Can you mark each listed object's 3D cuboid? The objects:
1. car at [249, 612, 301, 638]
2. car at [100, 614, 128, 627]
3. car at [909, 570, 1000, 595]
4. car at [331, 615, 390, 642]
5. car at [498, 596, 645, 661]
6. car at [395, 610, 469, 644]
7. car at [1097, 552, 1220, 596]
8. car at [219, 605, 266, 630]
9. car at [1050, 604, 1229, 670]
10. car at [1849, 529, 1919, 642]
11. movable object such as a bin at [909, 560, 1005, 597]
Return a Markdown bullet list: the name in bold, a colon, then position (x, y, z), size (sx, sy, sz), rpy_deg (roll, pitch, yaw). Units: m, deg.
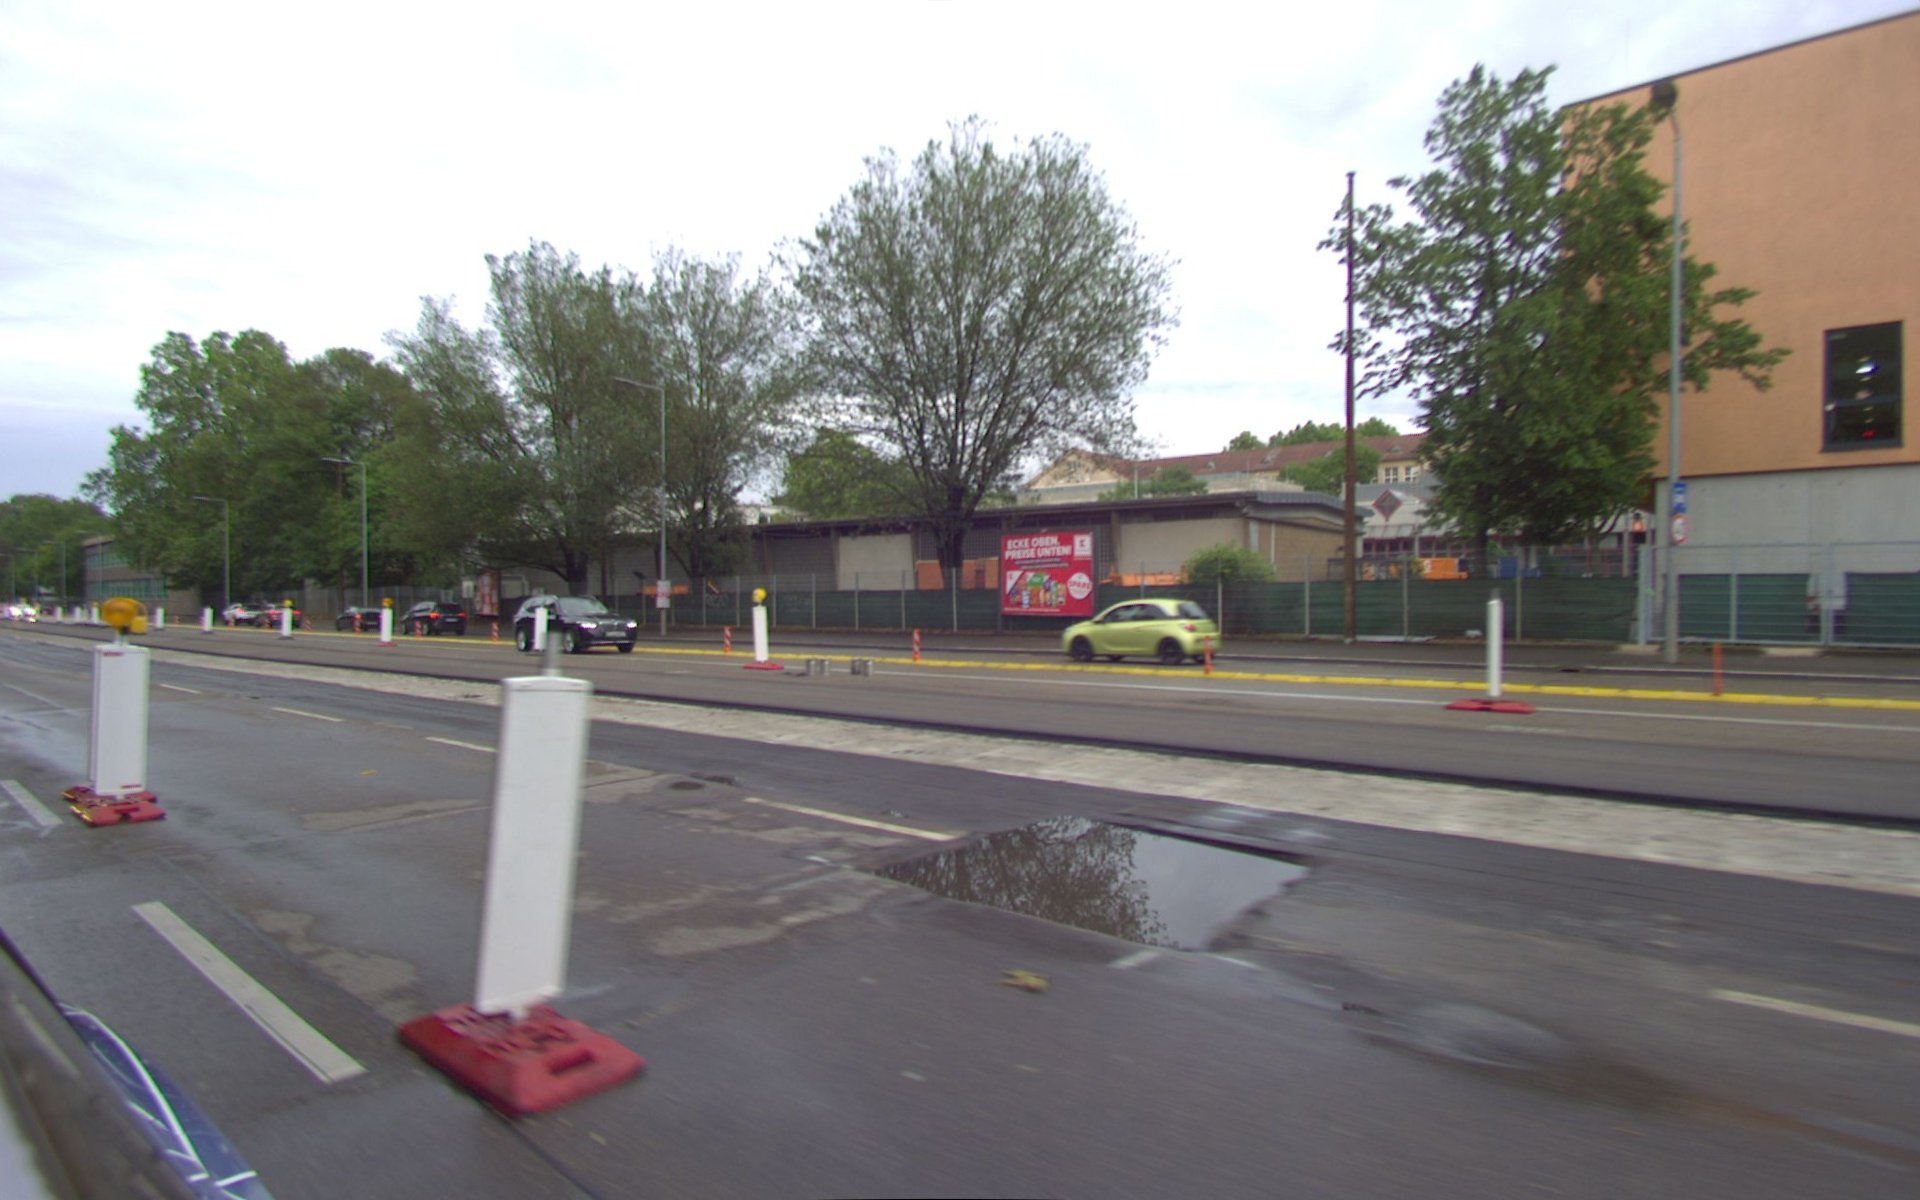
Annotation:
- **car**: position (-45.062, 1.639, 66.539), size (4.364, 1.631, 1.839), rpy_deg (0, -2, 42)
- **car**: position (-89.333, 2.130, 106.823), size (4.454, 1.325, 1.649), rpy_deg (0, -2, 42)
- **car**: position (-0.273, -0.773, 45.978), size (3.961, 1.070, 1.755), rpy_deg (-1, 0, -6)
- **car**: position (-34.445, 1.604, 58.088), size (3.731, 1.487, 1.839), rpy_deg (0, -2, 42)
- **car**: position (-11.324, 0.830, 29.312), size (4.984, 1.719, 1.972), rpy_deg (-2, -3, 43)
- **car**: position (-26.358, 1.341, 50.507), size (4.328, 1.642, 1.839), rpy_deg (0, -2, 42)
- **car**: position (7.302, -0.954, 37.457), size (3.958, 1.539, 2.004), rpy_deg (-1, 0, -10)
- **car**: position (-52.622, 1.269, 74.189), size (4.364, 1.719, 1.839), rpy_deg (0, -2, 42)
- **car**: position (4.060, 0.810, 23.212), size (3.803, 1.378, 1.537), rpy_deg (-1, -1, 41)
- **car**: position (19.877, -0.298, 19.551), size (3.997, 2.187, 1.593), rpy_deg (-1, 0, 41)
- **movable object such as a bin**: position (-0.151, -0.923, 43.836), size (3.961, 1.539, 1.755), rpy_deg (-1, 0, -6)
